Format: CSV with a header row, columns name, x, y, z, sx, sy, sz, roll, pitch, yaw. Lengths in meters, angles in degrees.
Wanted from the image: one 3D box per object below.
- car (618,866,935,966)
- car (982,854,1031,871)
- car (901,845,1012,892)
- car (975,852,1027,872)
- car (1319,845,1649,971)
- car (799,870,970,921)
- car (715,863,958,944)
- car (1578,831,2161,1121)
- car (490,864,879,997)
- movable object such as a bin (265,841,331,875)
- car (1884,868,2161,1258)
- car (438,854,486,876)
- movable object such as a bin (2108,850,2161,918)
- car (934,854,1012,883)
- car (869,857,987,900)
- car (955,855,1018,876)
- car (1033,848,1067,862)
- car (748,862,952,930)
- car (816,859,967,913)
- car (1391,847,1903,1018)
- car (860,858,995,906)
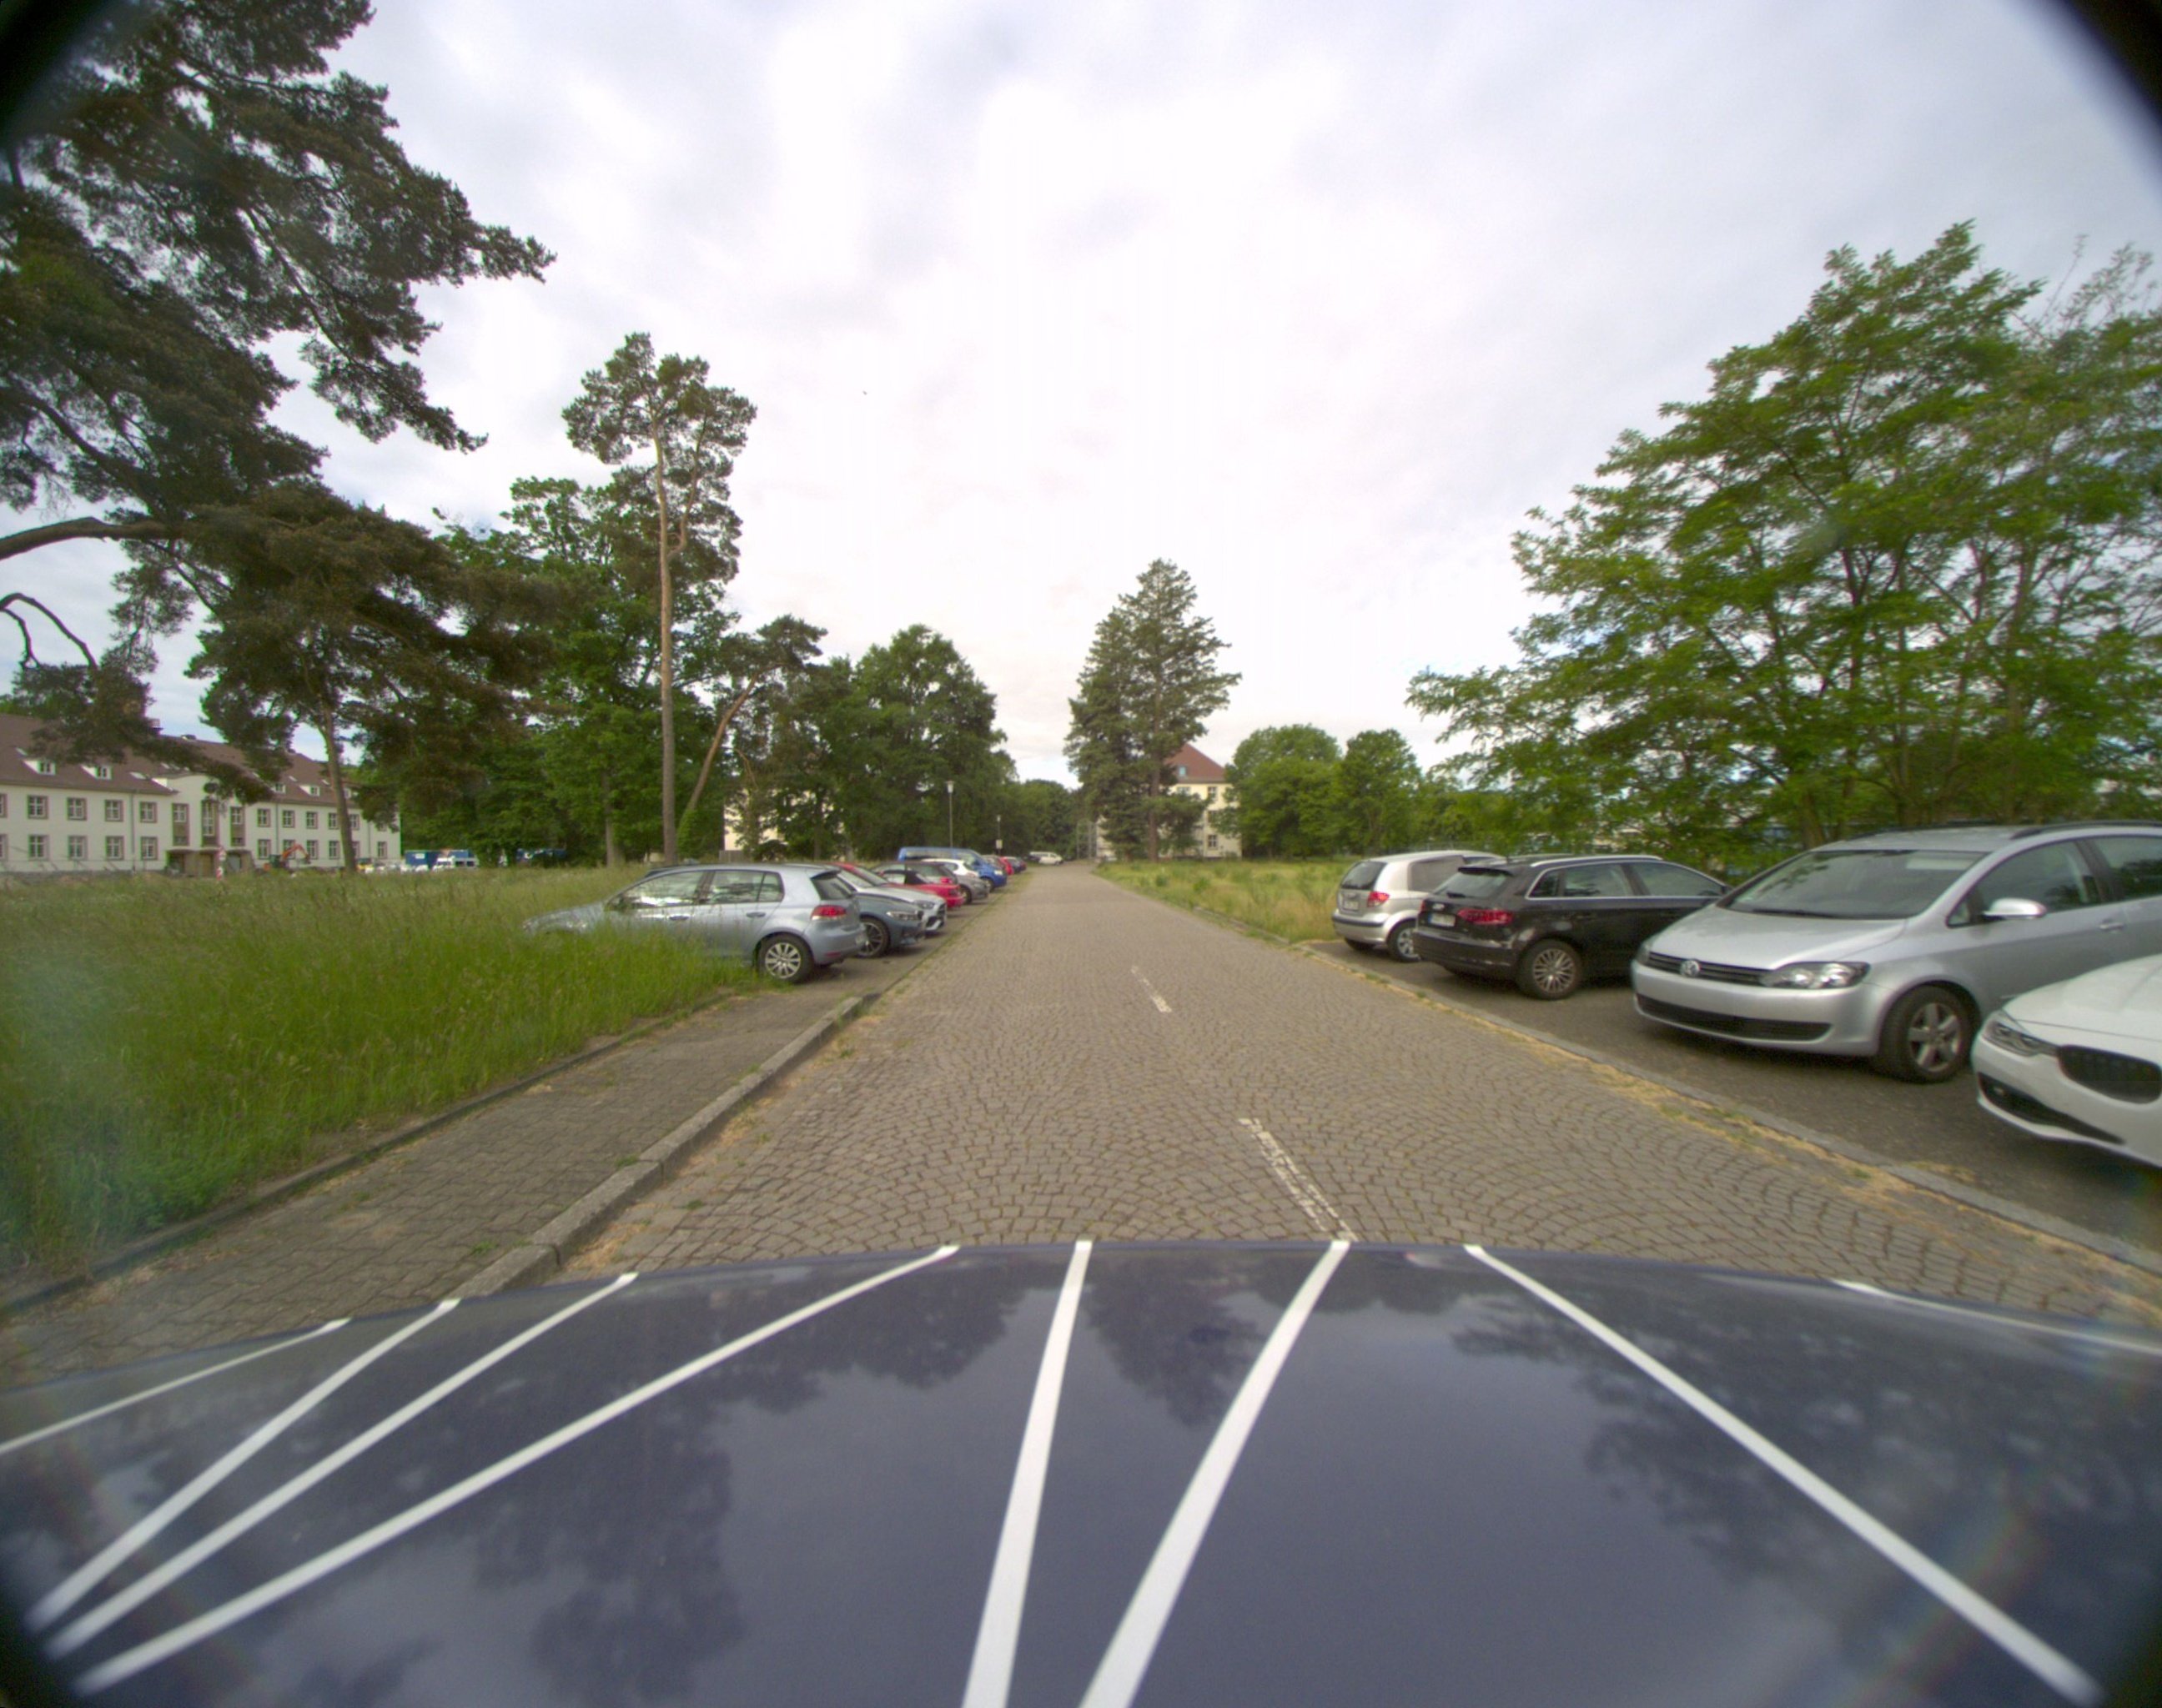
name,x,y,z,sx,sy,sz,roll,pitch,yaw
car,-4.733,0.963,12.322,4.440,1.375,1.663,2,0,-3
car,-6.584,0.757,67.773,4.092,1.524,1.727,0,0,5
car,-5.433,0.625,33.543,4.602,1.994,1.911,0,1,0
car,-6.626,0.651,63.079,4.082,1.685,1.727,0,0,5
car,5.726,0.712,11.045,3.961,1.462,1.584,-3,1,-5
car,-5.019,1.060,19.790,4.051,1.233,1.549,0,0,-1
car,-4.720,0.943,15.069,4.247,1.465,1.717,0,0,0
car,6.491,0.708,5.754,4.376,1.588,1.871,-3,1,-8
car,-4.812,0.911,9.690,4.012,1.420,1.697,2,0,-3
movable object such as a bin,-91.653,0.451,89.003,5.459,3.748,2.053,-2,1,2
car,6.647,0.771,3.208,4.752,1.479,1.866,-3,0,-4
car,-71.285,1.193,87.552,1.862,2.351,4.446,-2,1,-2
movable object such as a bin,18.907,0.500,12.763,2.268,1.119,0.858,0,1,-4
car,-5.998,0.793,42.429,4.084,1.584,1.654,0,0,1
car,-5.607,0.877,28.121,4.050,1.507,1.600,0,0,1
car,-6.523,0.797,52.731,4.084,1.436,1.726,0,0,0
car,-4.728,0.165,116.526,5.150,2.137,1.774,0,0,-5
car,-5.207,0.934,17.530,4.184,1.473,1.717,0,0,-1
car,-5.502,0.906,22.375,4.050,1.507,1.600,0,0,1
car,6.015,0.758,8.381,4.447,1.416,1.721,-3,1,-4
car,-5.025,0.916,25.219,4.097,1.507,1.700,0,0,1
